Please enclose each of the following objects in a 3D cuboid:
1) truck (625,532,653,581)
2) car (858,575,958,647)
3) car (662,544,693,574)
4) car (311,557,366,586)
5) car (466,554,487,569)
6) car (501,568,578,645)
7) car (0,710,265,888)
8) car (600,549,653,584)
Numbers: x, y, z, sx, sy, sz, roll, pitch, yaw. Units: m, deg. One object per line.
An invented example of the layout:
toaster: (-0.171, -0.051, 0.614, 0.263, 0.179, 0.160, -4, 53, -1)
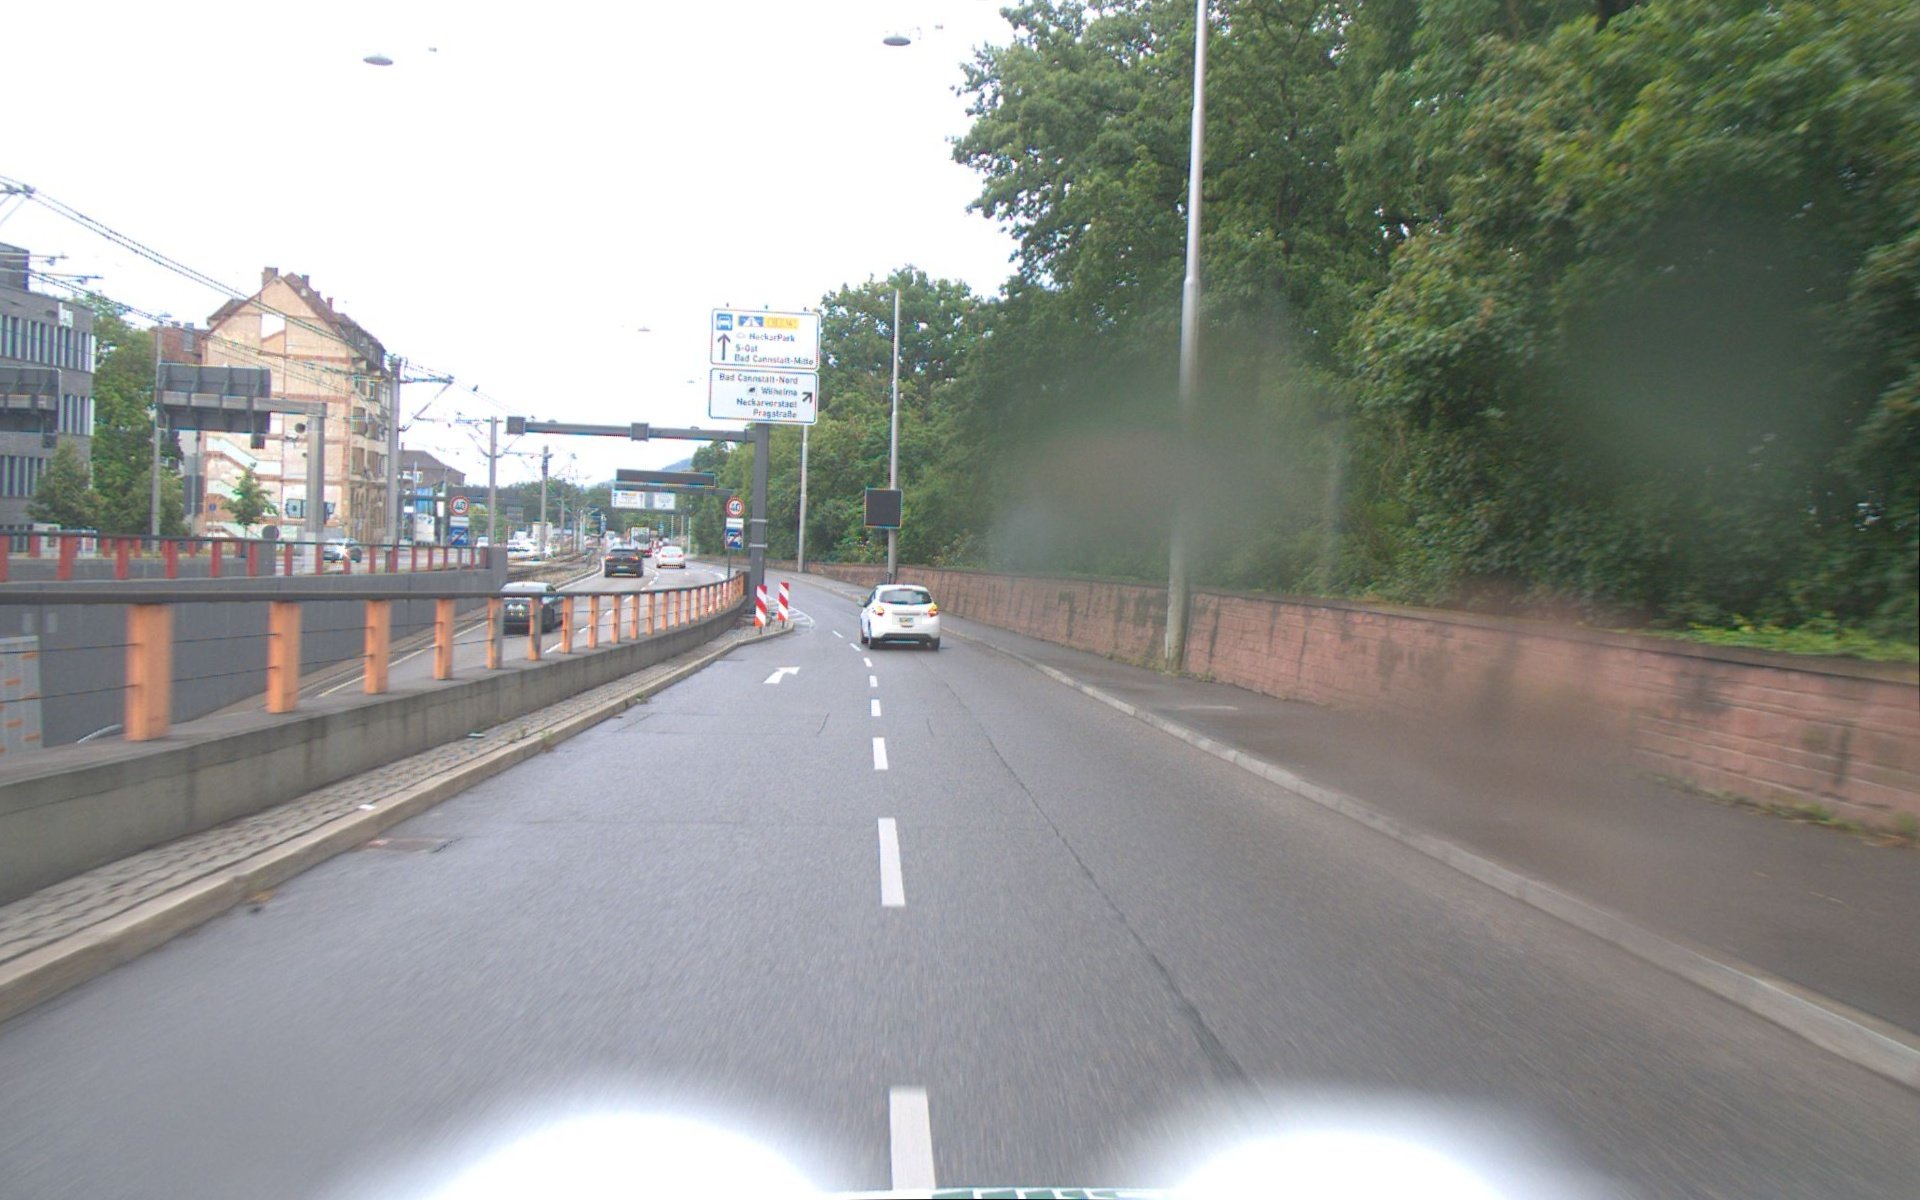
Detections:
truck: (-42.241, -5.671, 217.990, 3.402, 5.496, 12.018, 2, -3, -10)
car: (-1.313, 0.307, 39.751, 1.919, 1.514, 3.991, 2, -3, -9)
car: (-19.143, -2.788, 112.058, 2.044, 1.905, 4.085, 0, 0, -11)
car: (-36.351, -1.690, 96.856, 1.788, 1.612, 3.831, 2, 2, -1)
car: (-54.838, -4.408, 187.661, 1.791, 1.612, 3.824, 1, 2, -9)
car: (-12.098, 0.159, 47.723, 1.689, 1.923, 3.531, 1, 4, -7)
car: (-11.191, 2.624, 22.726, 1.785, 1.592, 4.090, -1, 5, -5)
car: (-16.065, -1.585, 79.876, 1.954, 1.603, 3.997, 0, 0, -4)
